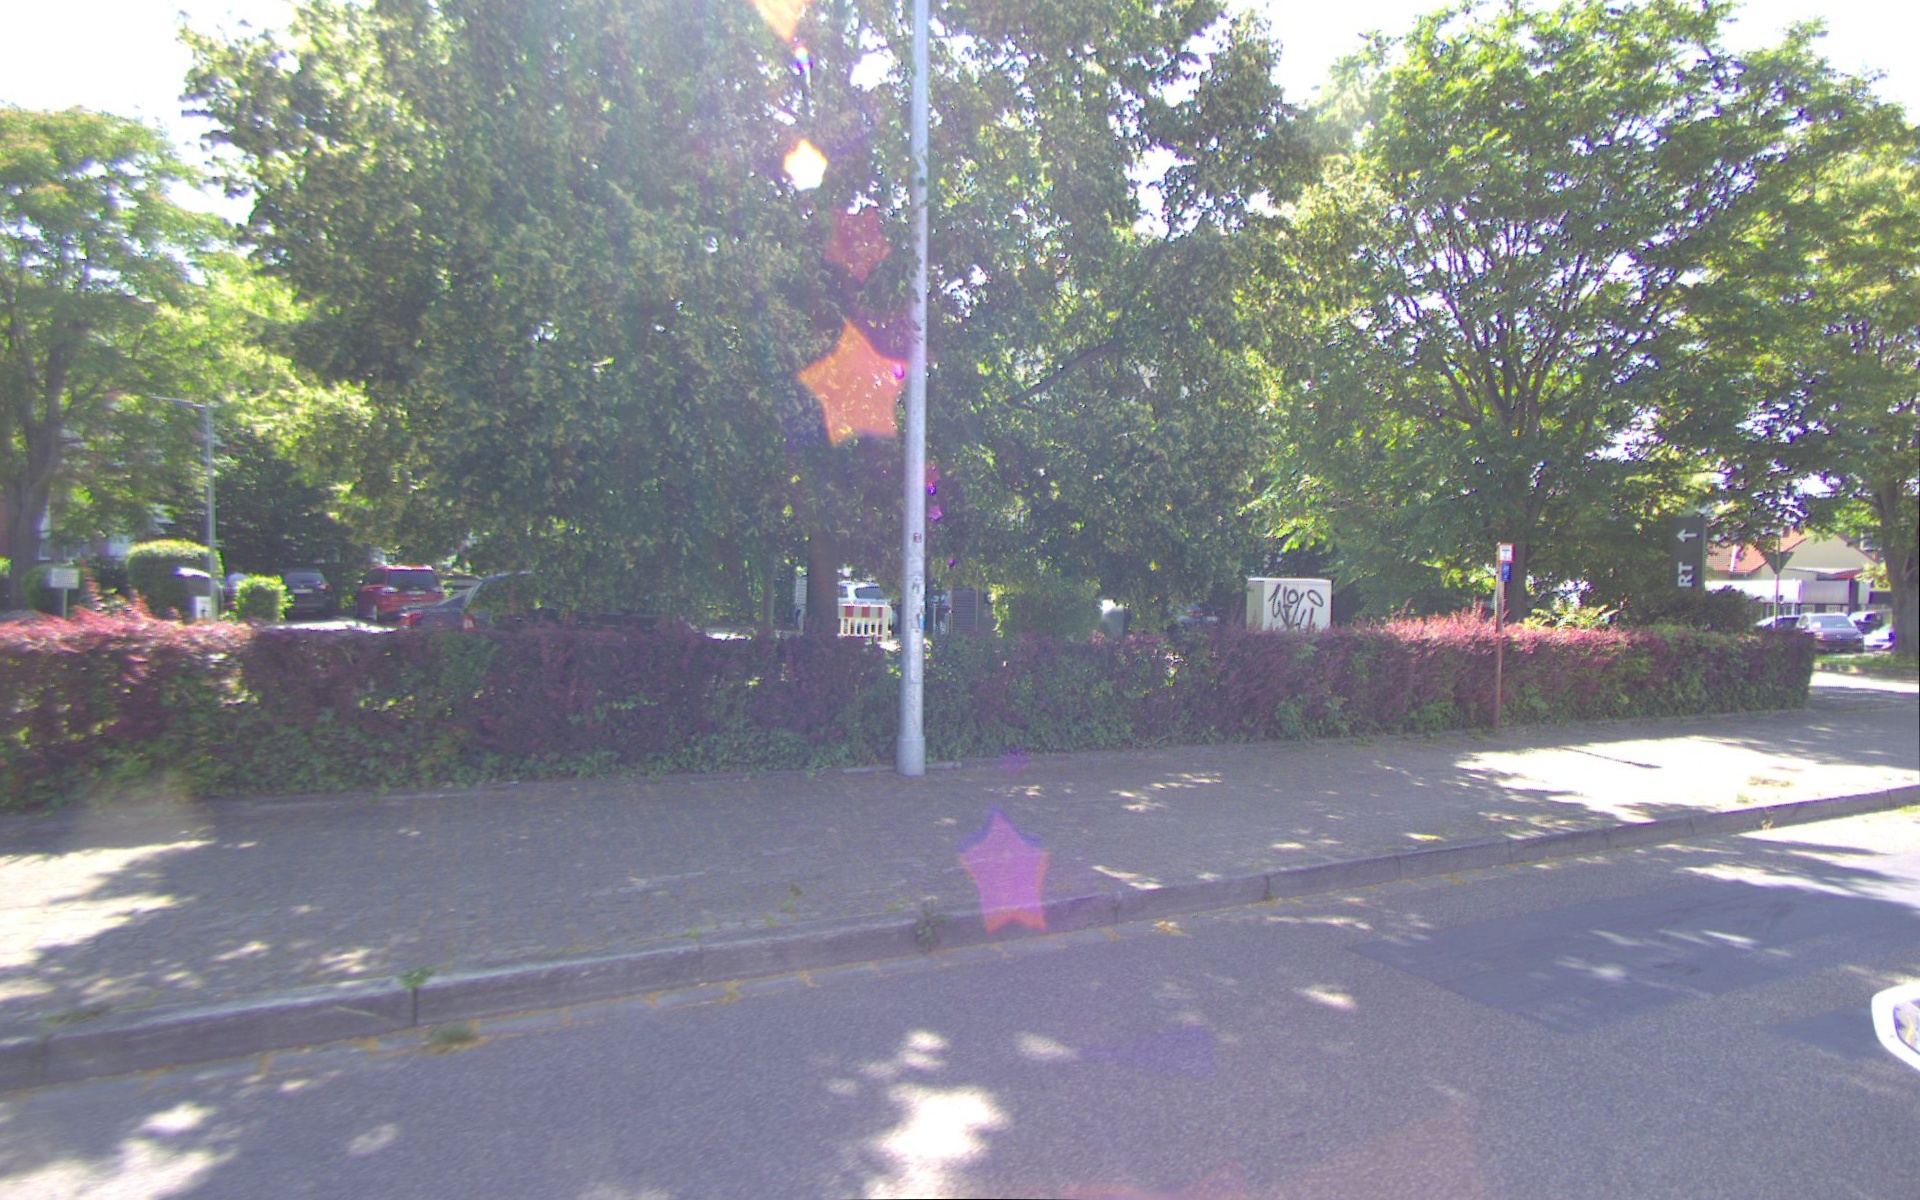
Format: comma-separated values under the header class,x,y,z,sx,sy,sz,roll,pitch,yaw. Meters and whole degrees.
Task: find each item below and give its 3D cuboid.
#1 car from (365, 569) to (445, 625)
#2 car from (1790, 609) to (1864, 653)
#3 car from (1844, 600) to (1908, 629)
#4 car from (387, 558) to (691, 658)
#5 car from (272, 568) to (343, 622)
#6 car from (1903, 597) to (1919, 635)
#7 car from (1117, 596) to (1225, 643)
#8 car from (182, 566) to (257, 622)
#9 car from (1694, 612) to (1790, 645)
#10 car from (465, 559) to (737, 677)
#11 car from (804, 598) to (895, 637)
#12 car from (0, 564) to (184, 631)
class,x,y,z,sx,sy,sz,roll,pitch,yaw
car,-17.407,-0.112,31.412,1.781,1.619,3.960,0,1,-35
car,37.075,1.272,43.050,1.967,1.751,3.986,1,1,35
car,48.120,0.752,52.841,1.544,1.440,3.682,2,1,28
car,-7.118,0.140,17.264,4.593,1.530,1.777,1,1,-26
car,-21.050,-0.169,32.357,1.781,1.619,3.960,0,1,-35
car,49.879,0.825,50.839,1.962,1.929,3.996,2,1,25
car,6.344,0.555,30.555,1.610,1.317,3.591,1,0,-19
car,-23.194,-0.195,31.566,1.781,1.619,3.960,0,1,-35
car,38.570,1.365,49.644,3.628,1.440,1.566,2,1,37
car,-5.400,0.264,15.306,3.702,1.624,1.678,1,1,-22
car,-3.468,0.516,31.198,1.392,1.104,3.358,0,1,-35
car,-21.427,-0.069,24.925,1.471,1.546,3.435,1,0,5
